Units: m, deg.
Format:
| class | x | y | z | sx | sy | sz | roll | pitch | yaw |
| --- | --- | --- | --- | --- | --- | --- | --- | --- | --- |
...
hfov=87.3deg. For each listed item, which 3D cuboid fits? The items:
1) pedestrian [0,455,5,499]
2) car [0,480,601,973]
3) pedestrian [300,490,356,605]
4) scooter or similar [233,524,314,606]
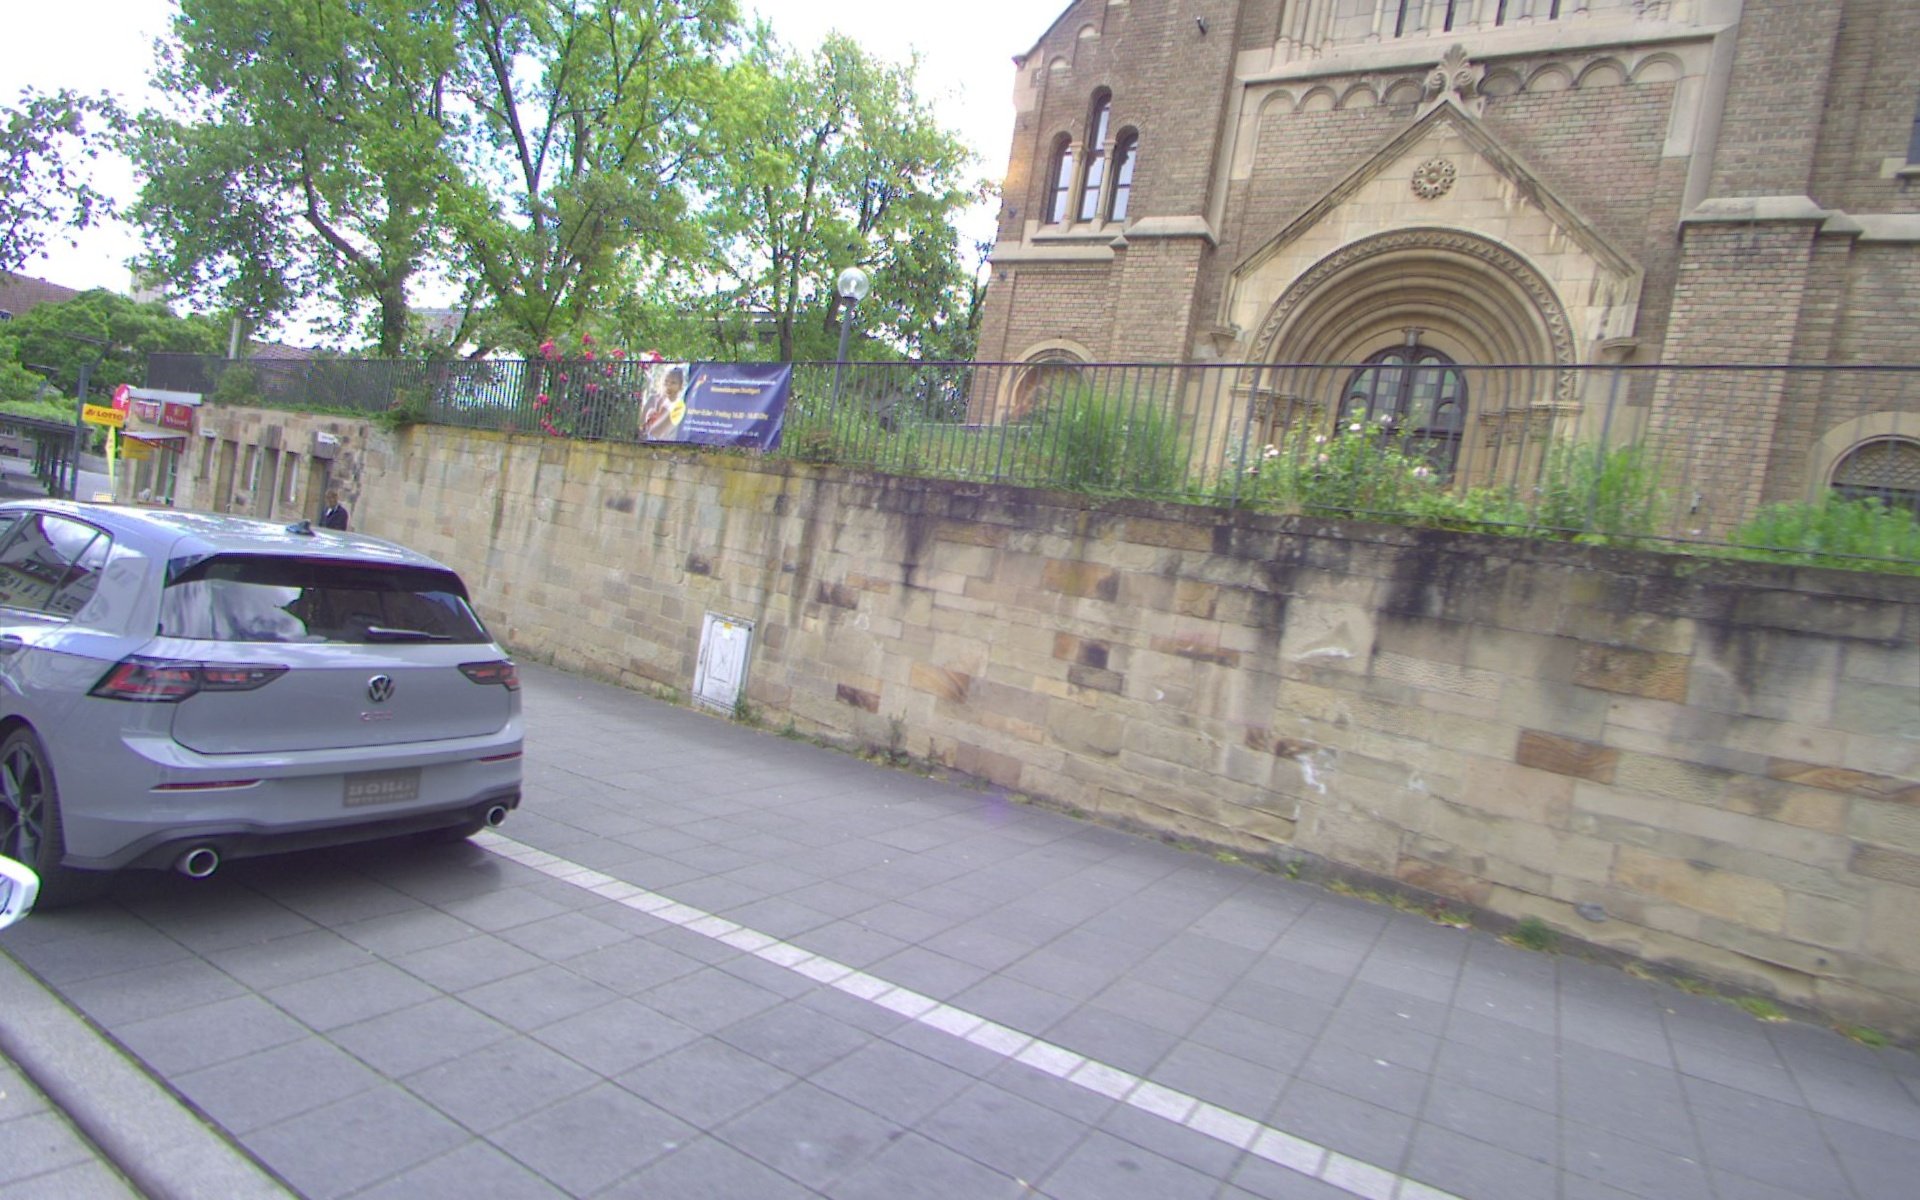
| class | x | y | z | sx | sy | sz | roll | pitch | yaw |
| --- | --- | --- | --- | --- | --- | --- | --- | --- | --- |
| pedestrian | -30.810 | -3.955 | 31.893 | 0.577 | 1.338 | 0.615 | 13 | 4 | 40 |
| car | -3.862 | 0.254 | 4.824 | 4.020 | 1.459 | 1.757 | 7 | 1 | 30 |
| pedestrian | -9.584 | -0.800 | 15.256 | 0.500 | 1.667 | 0.472 | 8 | 2 | 43 |
| scooter or similar | -10.081 | -0.504 | 14.784 | 0.553 | 1.086 | 0.810 | 8 | 1 | 43 |
